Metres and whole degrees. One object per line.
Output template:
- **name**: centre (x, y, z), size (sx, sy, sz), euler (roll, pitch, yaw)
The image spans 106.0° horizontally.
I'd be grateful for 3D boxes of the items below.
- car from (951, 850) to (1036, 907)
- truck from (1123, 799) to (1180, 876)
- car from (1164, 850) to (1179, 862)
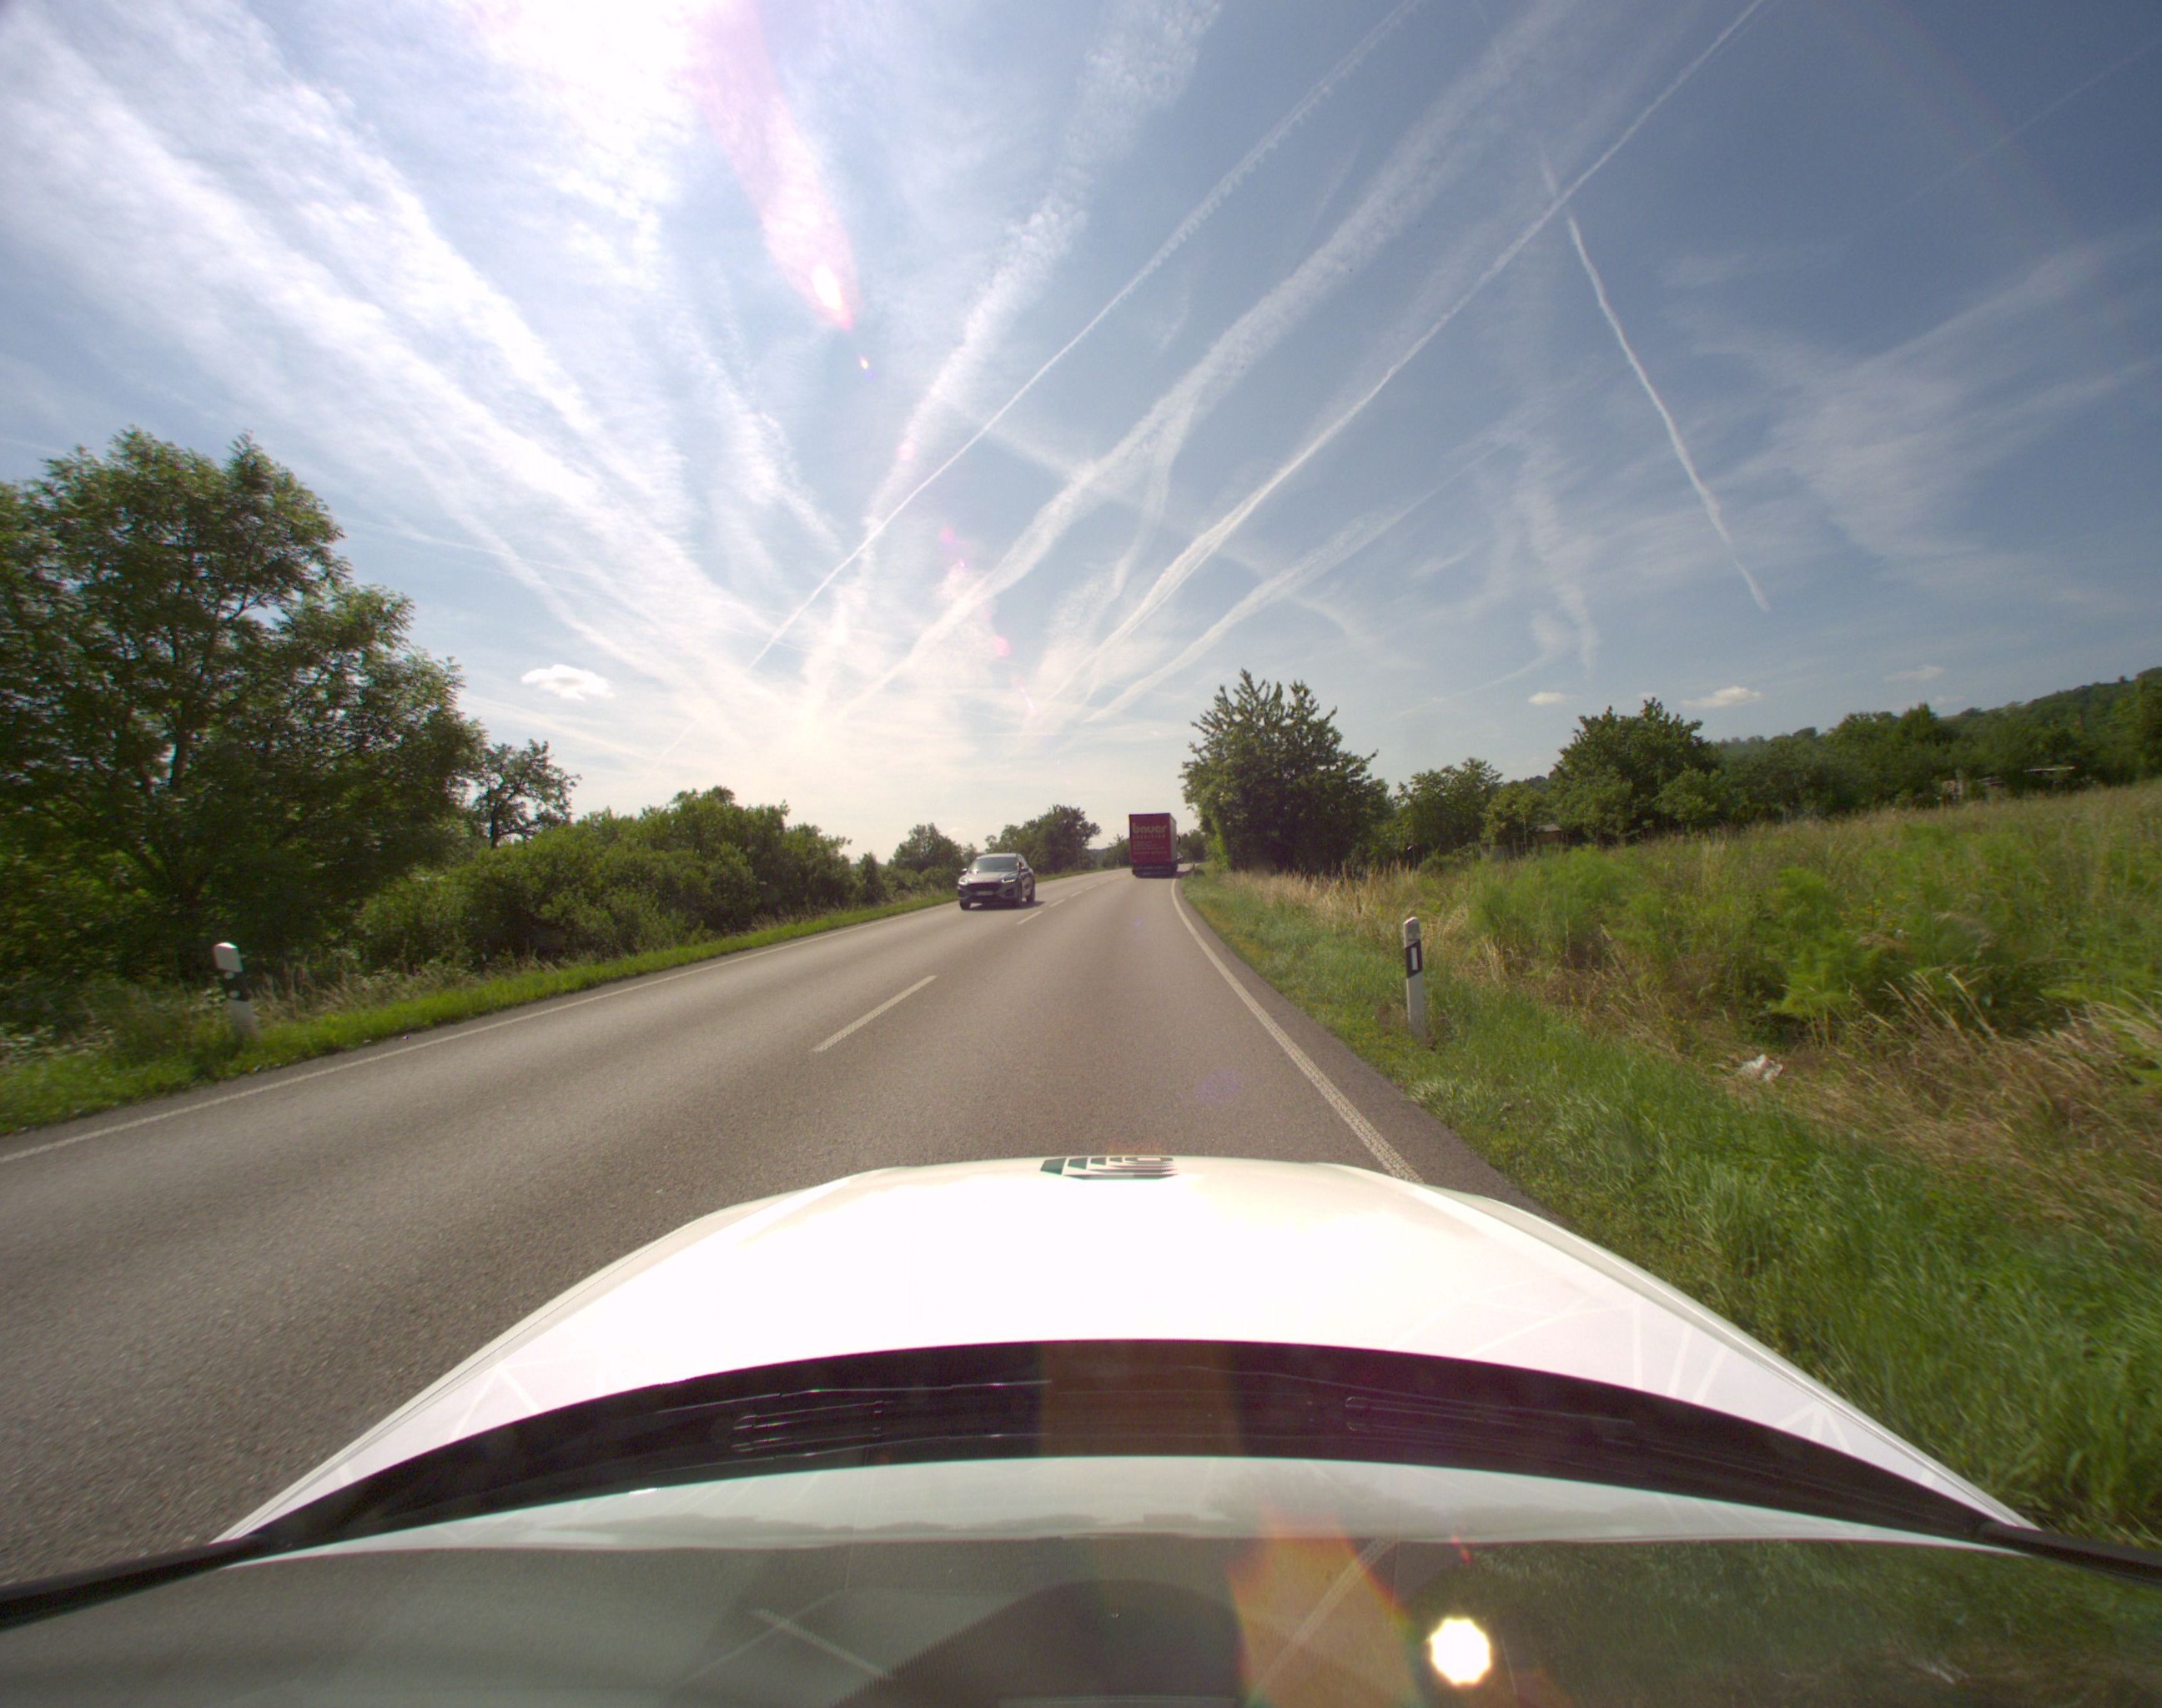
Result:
- **car**: centre (-2.676, 0.729, 26.002), size (1.948, 1.605, 4.405), euler (-2, 0, 3)
- **truck**: centre (5.006, -1.072, 55.444), size (3.095, 4.505, 12.193), euler (-3, 0, 7)
- **car**: centre (12.677, 0.293, 113.606), size (1.868, 1.593, 4.502), euler (-2, 0, 8)
